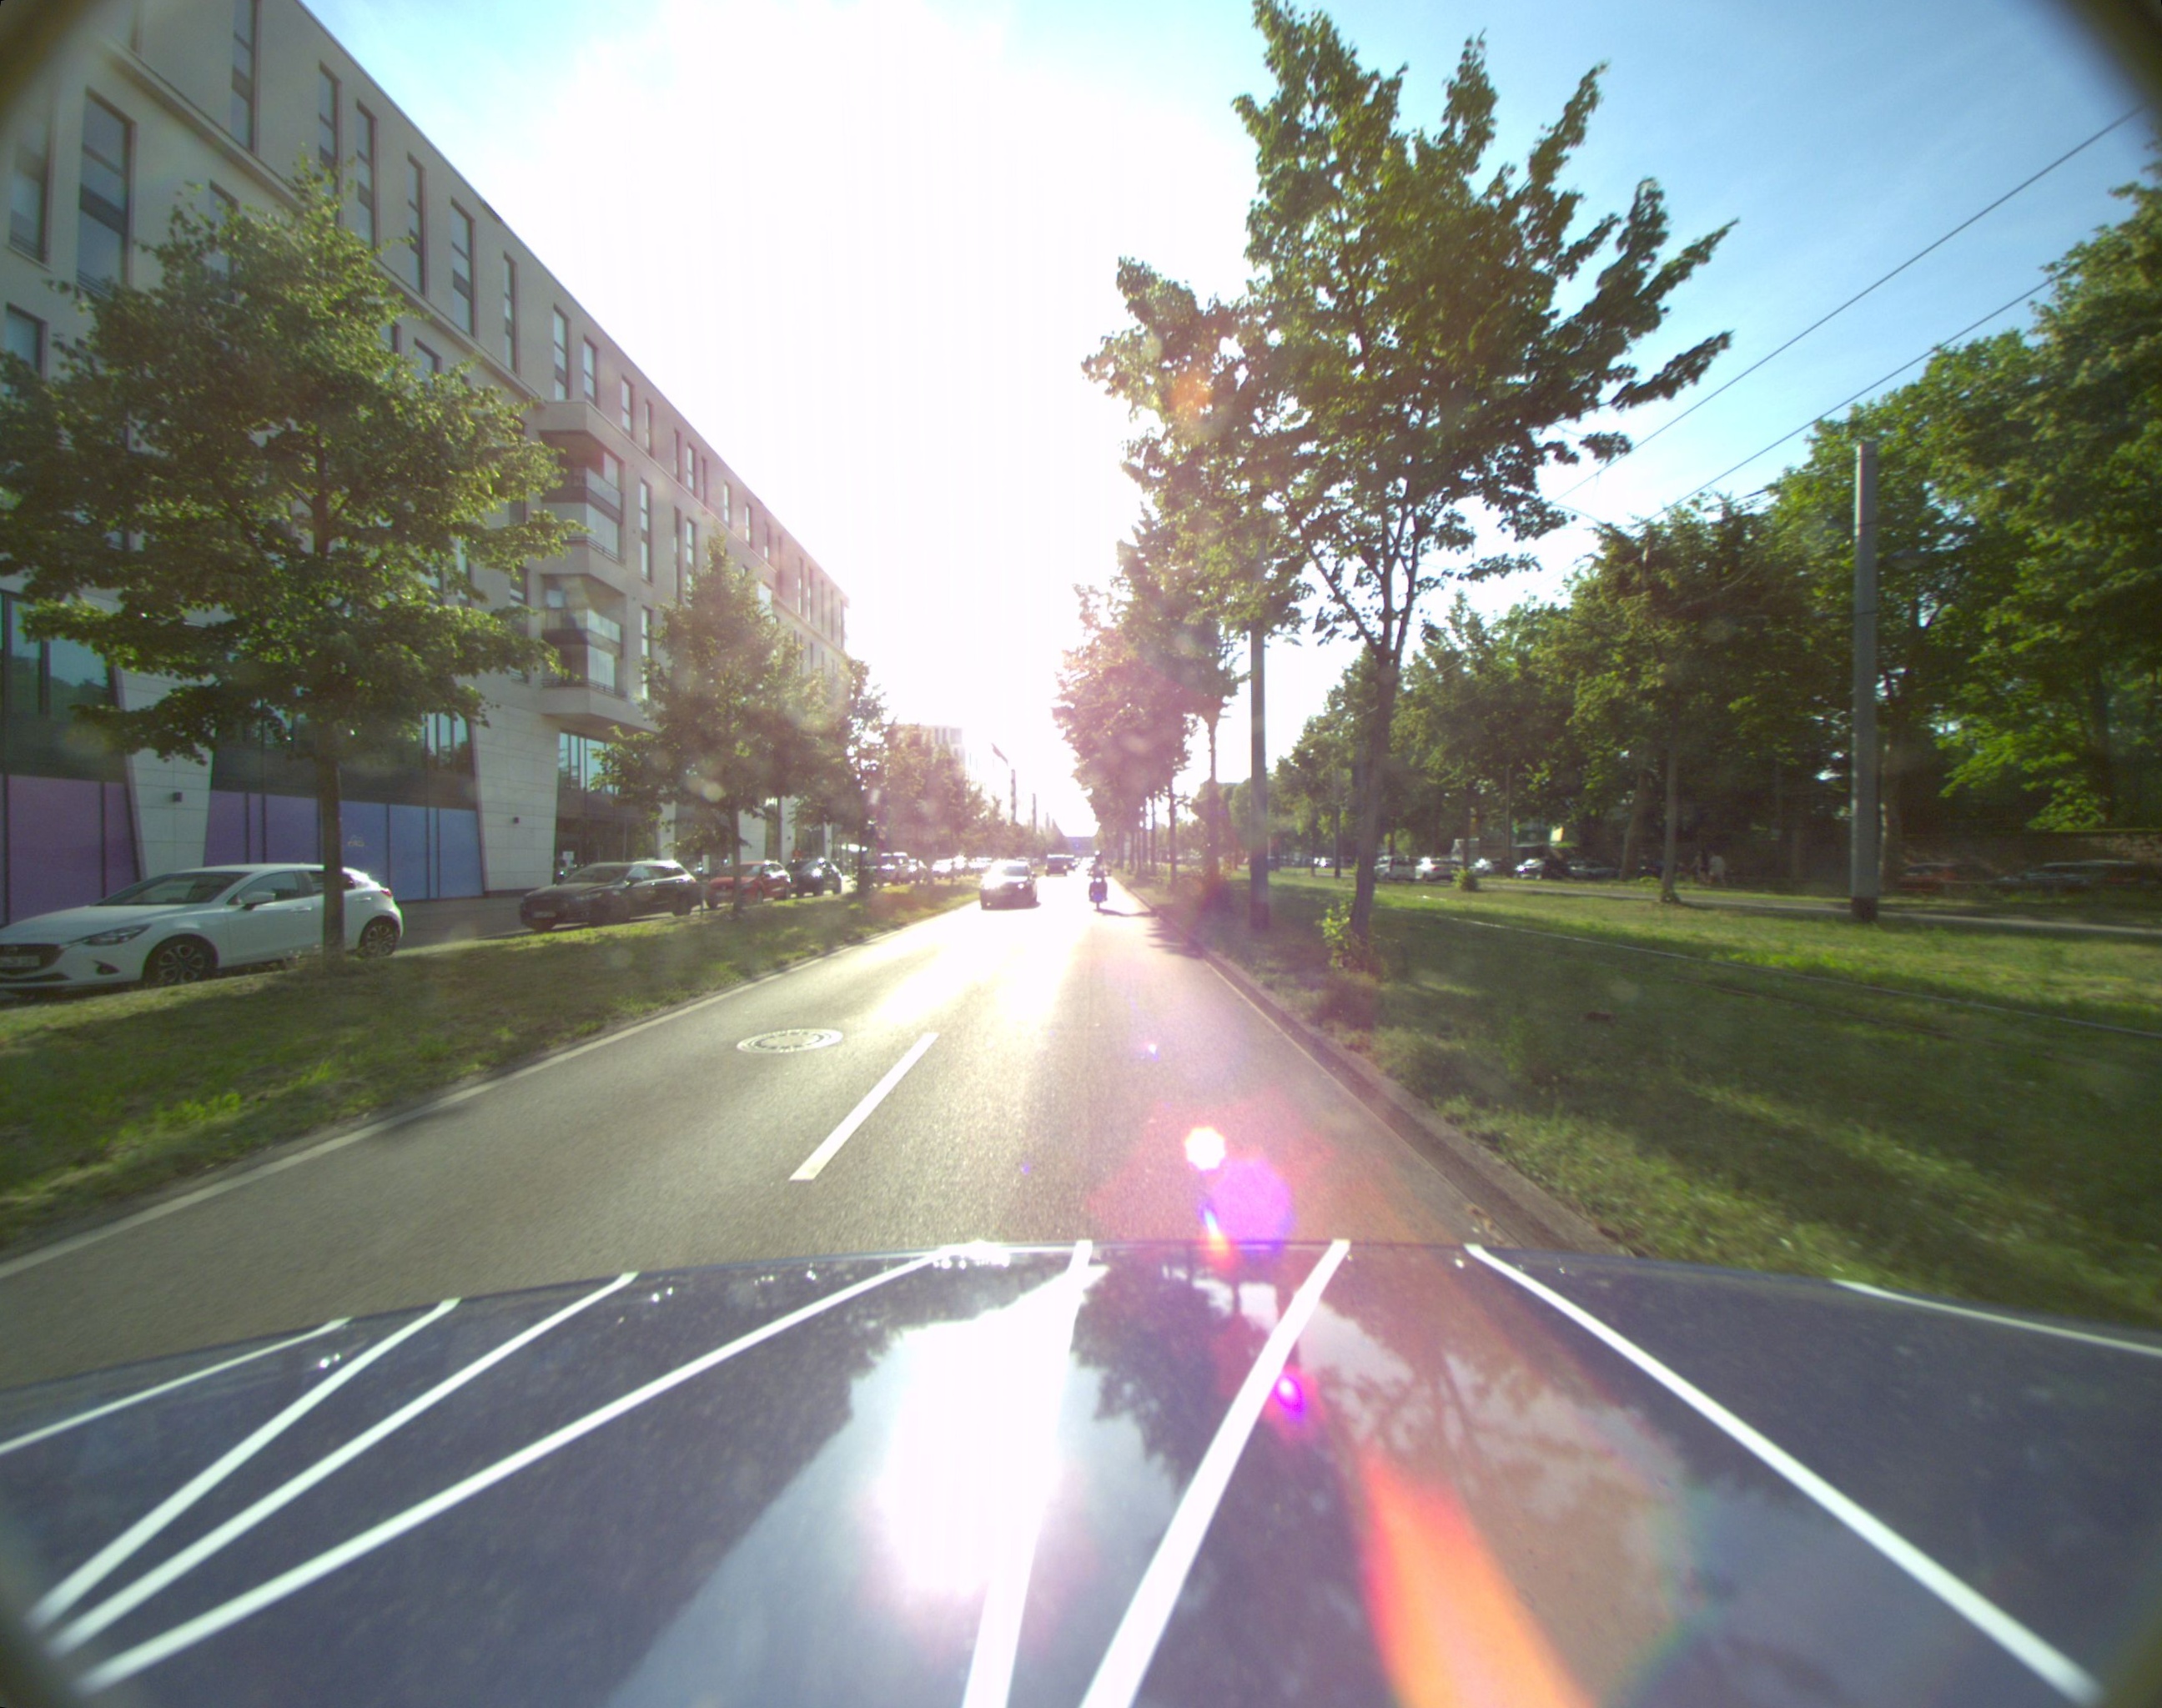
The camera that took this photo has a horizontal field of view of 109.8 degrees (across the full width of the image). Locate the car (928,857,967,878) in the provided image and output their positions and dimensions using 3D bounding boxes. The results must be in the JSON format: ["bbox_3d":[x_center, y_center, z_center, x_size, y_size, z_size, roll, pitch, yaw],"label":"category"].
[{"bbox_3d":[-10.470,1.033,59.922,1.764,1.479,4.920,-3,1,4],"label":"car"}]

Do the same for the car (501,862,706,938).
[{"bbox_3d":[-11.175,1.000,18.279,1.732,1.424,4.722,-3,1,2],"label":"car"}]

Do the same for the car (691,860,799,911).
[{"bbox_3d":[-11.155,0.997,25.581,1.733,1.424,4.113,-3,1,0],"label":"car"}]

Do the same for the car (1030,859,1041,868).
[{"bbox_3d":[-9.052,1.912,151.689,1.740,1.777,3.893,-3,1,1],"label":"car"}]

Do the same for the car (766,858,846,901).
[{"bbox_3d":[-11.114,0.991,31.045,1.873,1.483,4.413,-3,1,-4],"label":"car"}]

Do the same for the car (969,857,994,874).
[{"bbox_3d":[-10.024,1.129,76.616,1.840,1.521,4.328,-3,1,1],"label":"car"}]

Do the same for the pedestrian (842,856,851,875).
[{"bbox_3d":[-19.578,0.954,63.371,0.499,1.591,0.572,-3,1,0],"label":"pedestrian"}]

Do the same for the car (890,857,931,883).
[{"bbox_3d":[-10.920,0.980,49.014,1.765,1.479,4.209,-3,1,-2],"label":"car"}]

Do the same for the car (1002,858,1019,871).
[{"bbox_3d":[-9.671,1.426,105.160,1.840,1.521,4.328,-3,1,1],"label":"car"}]

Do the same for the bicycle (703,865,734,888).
[{"bbox_3d":[-18.008,1.085,37.826,0.512,1.064,2.077,1,1,1],"label":"bicycle"}]

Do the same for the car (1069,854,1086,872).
[{"bbox_3d":[-0.418,1.023,91.253,1.909,2.002,4.000,-3,1,1],"label":"car"}]

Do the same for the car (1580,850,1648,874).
[{"bbox_3d":[38.010,0.542,54.317,1.835,1.602,4.475,-3,1,2],"label":"car"}]

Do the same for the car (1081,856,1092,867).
[{"bbox_3d":[1.030,1.310,136.917,1.740,1.777,3.893,-3,1,1],"label":"car"}]

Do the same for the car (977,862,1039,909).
[{"bbox_3d":[-2.497,1.050,26.919,1.698,1.416,4.039,-3,1,1],"label":"car"}]

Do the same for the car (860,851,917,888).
[{"bbox_3d":[-10.847,0.829,43.170,1.899,1.863,4.844,-3,1,0],"label":"car"}]

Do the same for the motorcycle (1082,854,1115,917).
[{"bbox_3d":[0.475,0.846,21.988,0.798,1.659,2.634,-3,1,0],"label":"motorcycle"}]

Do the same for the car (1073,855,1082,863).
[{"bbox_3d":[-0.686,1.032,162.483,1.840,1.521,4.328,-3,1,1],"label":"car"}]

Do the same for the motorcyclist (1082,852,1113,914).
[{"bbox_3d":[0.465,0.817,21.912,0.814,1.699,0.843,-3,1,0],"label":"motorcyclist"}]

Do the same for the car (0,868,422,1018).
[{"bbox_3d":[-11.187,0.968,9.870,1.620,1.404,4.167,-3,1,-2],"label":"car"}]

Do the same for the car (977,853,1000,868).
[{"bbox_3d":[-10.128,0.702,83.214,1.840,1.521,4.328,-3,1,1],"label":"car"}]

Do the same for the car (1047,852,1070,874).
[{"bbox_3d":[-2.022,0.782,69.048,1.803,1.880,4.821,-3,1,1],"label":"car"}]

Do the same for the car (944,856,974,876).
[{"bbox_3d":[-10.583,1.021,66.299,1.764,1.588,4.328,-3,1,1],"label":"car"}]
